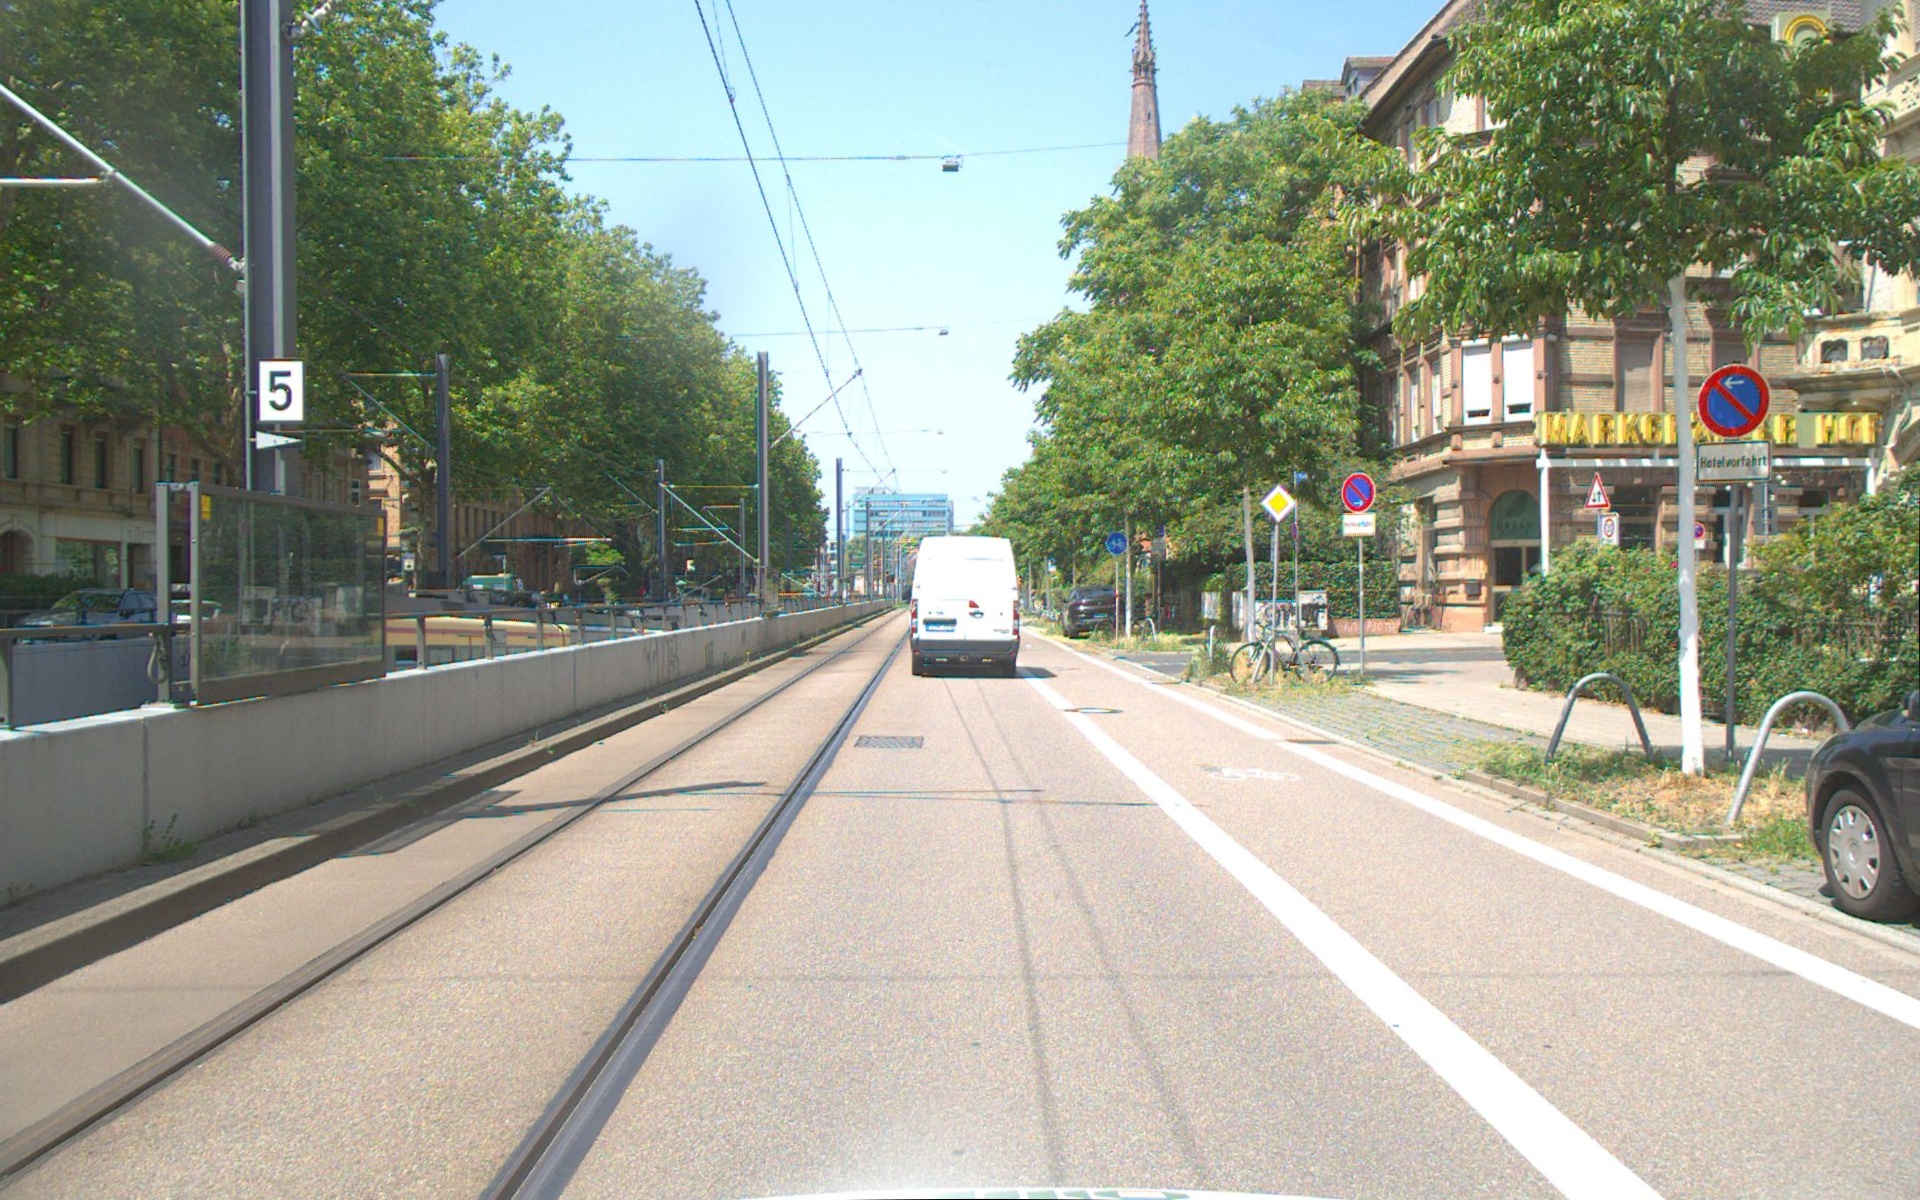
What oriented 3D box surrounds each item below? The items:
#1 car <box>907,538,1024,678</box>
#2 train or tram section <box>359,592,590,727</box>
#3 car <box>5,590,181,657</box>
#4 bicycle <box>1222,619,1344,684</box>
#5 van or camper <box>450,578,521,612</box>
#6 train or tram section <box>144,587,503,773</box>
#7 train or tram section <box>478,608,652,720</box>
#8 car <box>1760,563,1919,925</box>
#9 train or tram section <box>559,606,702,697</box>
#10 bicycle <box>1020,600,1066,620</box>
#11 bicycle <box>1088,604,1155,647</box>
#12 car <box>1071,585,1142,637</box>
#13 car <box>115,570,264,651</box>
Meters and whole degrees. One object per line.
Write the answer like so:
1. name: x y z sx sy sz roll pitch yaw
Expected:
1. car: 0.095 0.131 32.071 2.074 2.502 5.054 0 0 0
2. train or tram section: -10.080 1.103 35.324 2.673 2.552 8.002 0 0 -1
3. car: -19.329 0.482 37.093 1.814 1.425 4.196 0 0 -2
4. bicycle: 5.031 0.804 25.843 1.804 0.970 0.503 -1 0 1
5. van or camper: -29.719 -0.312 103.652 3.908 2.049 1.999 0 0 -4
6. train or tram section: -9.940 1.077 27.030 2.673 2.552 8.515 0 0 -1
7. train or tram section: -10.185 1.541 43.622 2.673 2.552 8.489 0 0 -1
8. car: 5.004 0.623 6.323 1.694 1.562 4.403 0 0 -1
9. train or tram section: -10.318 1.510 52.903 2.673 2.552 10.087 0 0 -1
10. bicycle: 3.825 0.438 75.695 1.526 0.841 4.004 0 0 12
11. bicycle: 4.598 0.718 47.189 1.849 1.202 0.640 0 0 -3
12. car: 4.894 0.352 55.734 2.112 1.699 4.001 0 0 1
13. car: -19.495 0.239 42.048 1.953 1.937 4.147 0 0 -2
